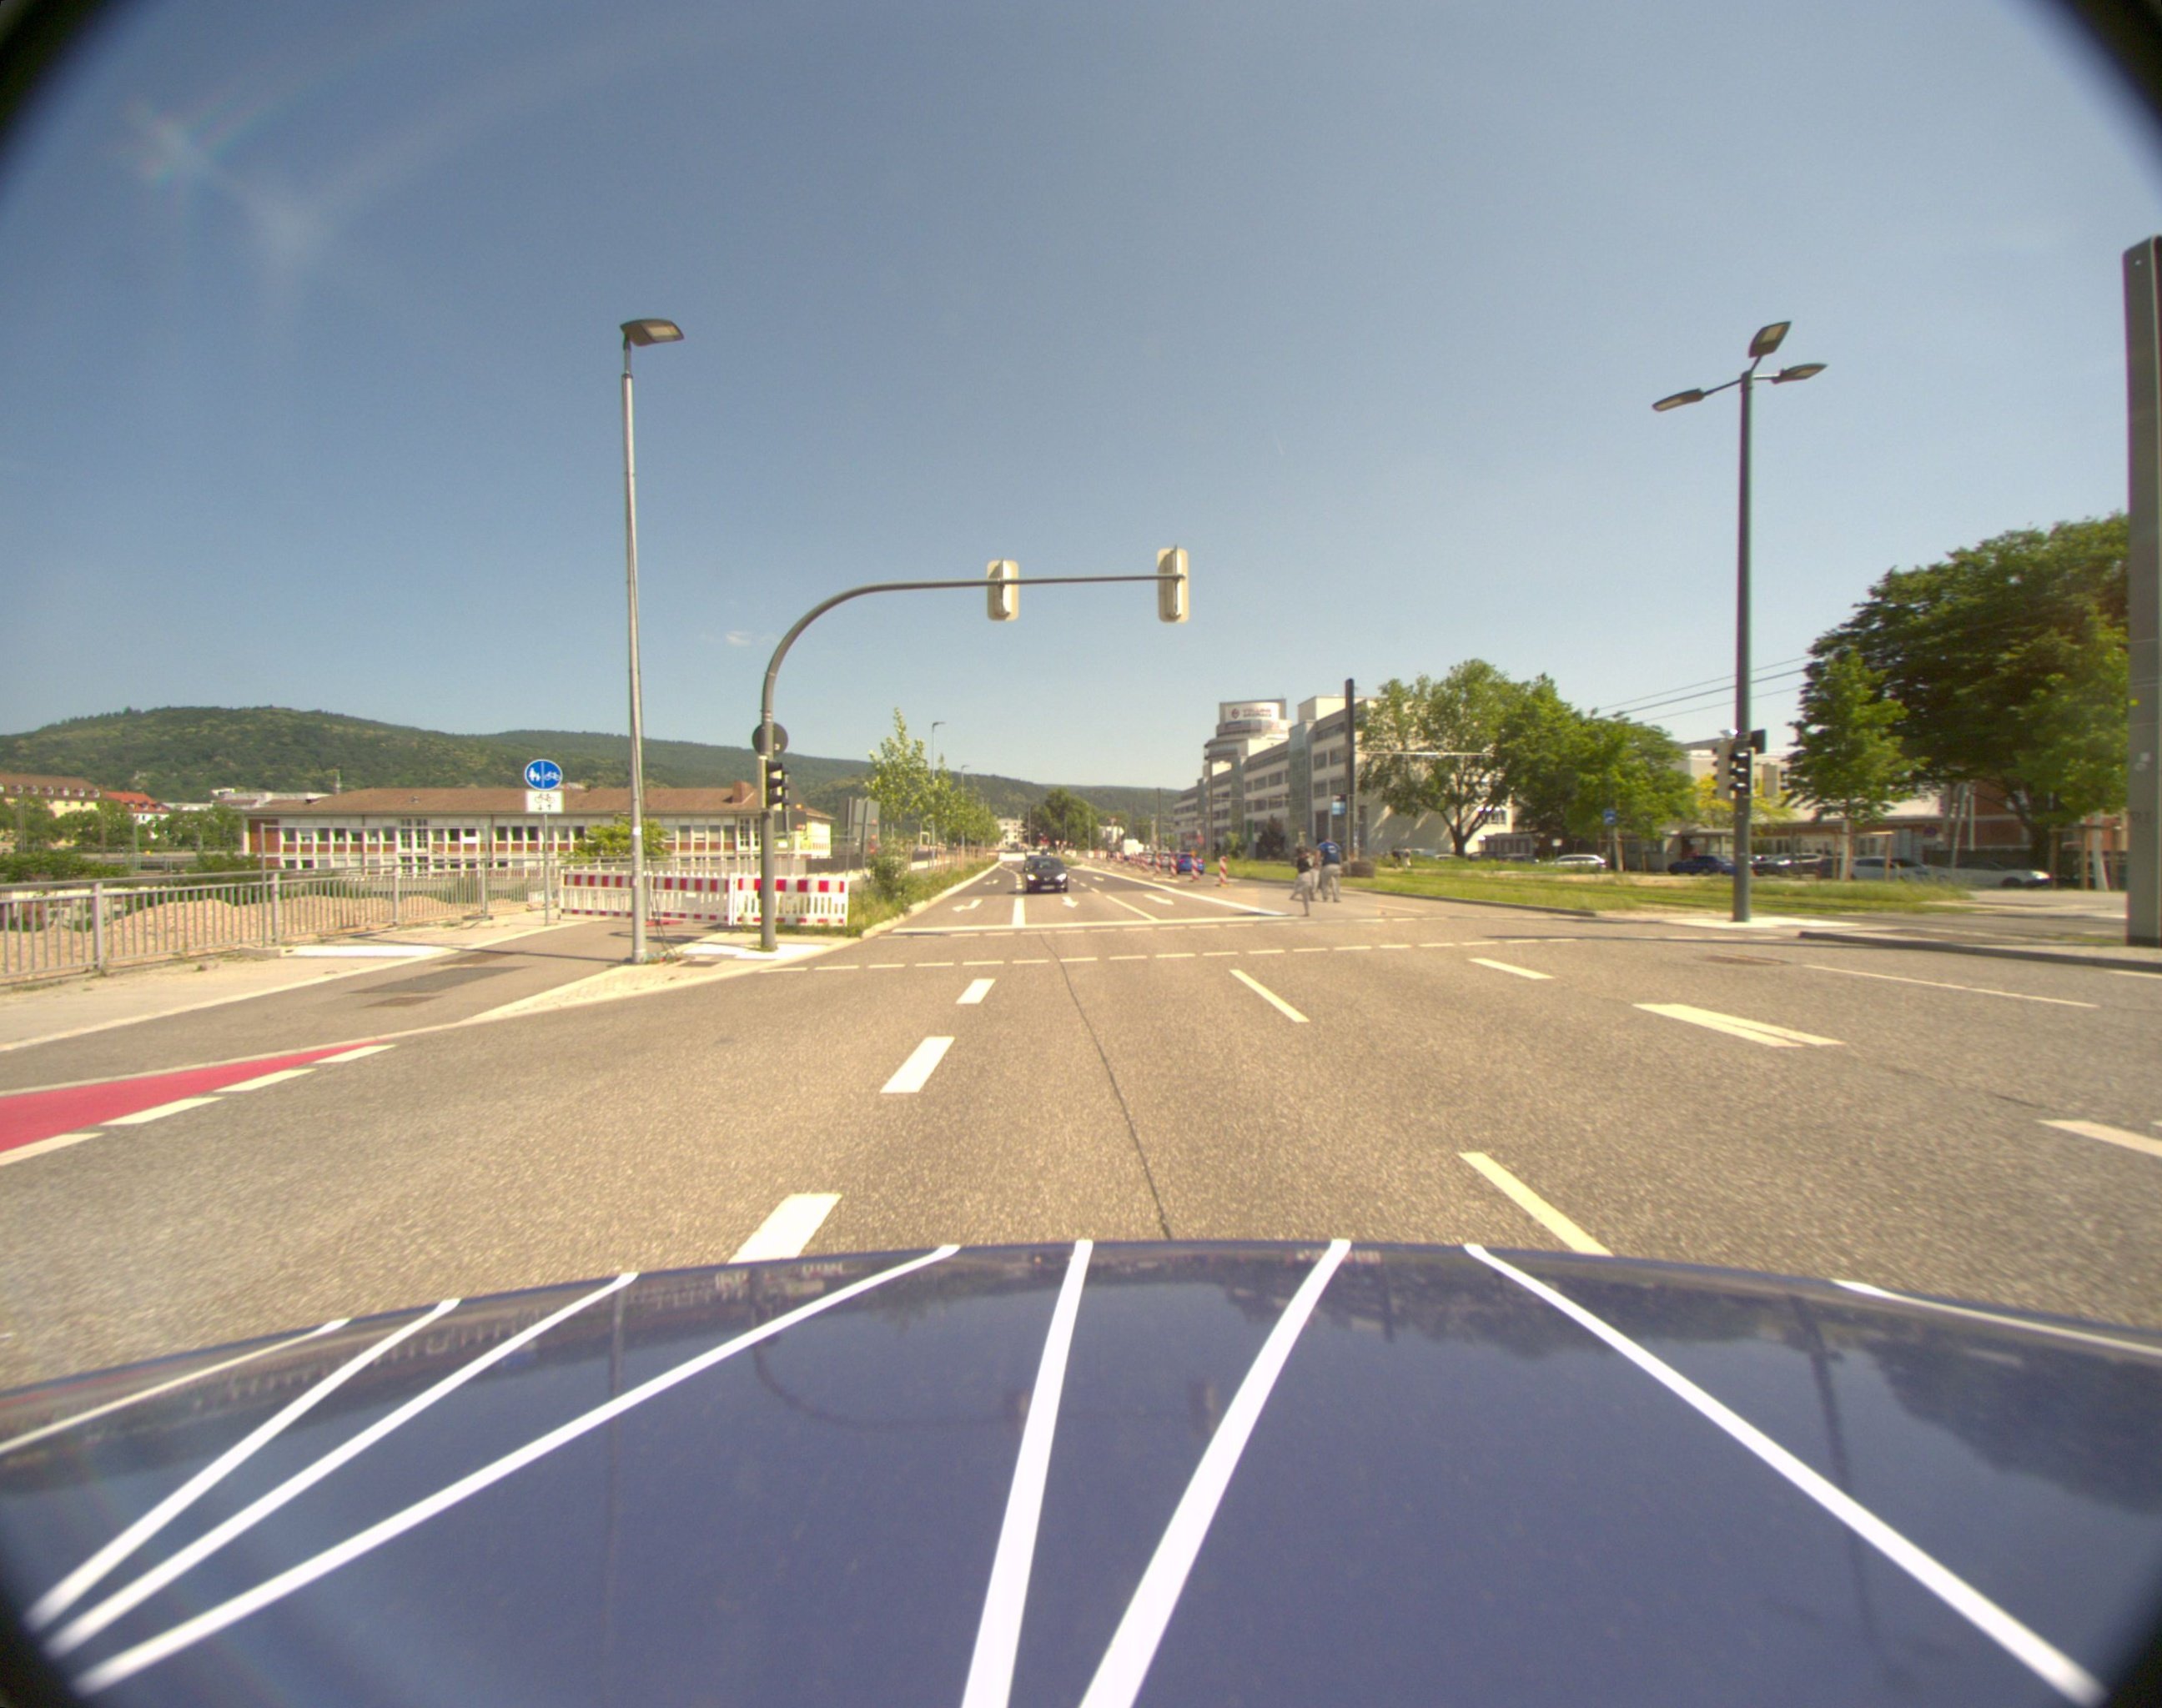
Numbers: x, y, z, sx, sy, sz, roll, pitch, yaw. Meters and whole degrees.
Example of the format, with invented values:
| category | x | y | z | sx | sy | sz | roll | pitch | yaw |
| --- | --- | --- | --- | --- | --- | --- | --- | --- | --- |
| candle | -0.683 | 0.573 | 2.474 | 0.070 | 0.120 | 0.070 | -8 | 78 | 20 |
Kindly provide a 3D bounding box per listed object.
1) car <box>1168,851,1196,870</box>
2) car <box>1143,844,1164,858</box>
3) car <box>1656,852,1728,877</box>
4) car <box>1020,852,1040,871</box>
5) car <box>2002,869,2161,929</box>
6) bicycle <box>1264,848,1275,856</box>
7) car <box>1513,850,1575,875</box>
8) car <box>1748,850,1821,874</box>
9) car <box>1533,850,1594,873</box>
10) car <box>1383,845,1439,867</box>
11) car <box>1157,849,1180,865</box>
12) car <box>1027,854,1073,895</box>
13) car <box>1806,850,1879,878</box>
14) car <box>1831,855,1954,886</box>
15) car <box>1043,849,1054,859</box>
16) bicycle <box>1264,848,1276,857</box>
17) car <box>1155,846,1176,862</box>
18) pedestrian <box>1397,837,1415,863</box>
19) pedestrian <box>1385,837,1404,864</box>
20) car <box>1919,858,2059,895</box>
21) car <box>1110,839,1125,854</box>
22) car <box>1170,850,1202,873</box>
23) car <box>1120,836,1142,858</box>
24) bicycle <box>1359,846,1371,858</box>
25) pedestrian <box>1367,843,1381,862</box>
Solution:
| category | x | y | z | sx | sy | sz | roll | pitch | yaw |
| --- | --- | --- | --- | --- | --- | --- | --- | --- | --- |
| car | 7.987 | 0.465 | 60.185 | 1.584 | 1.408 | 3.998 | 0 | 1 | -2 |
| car | 7.814 | -0.372 | 82.296 | 1.678 | 1.435 | 4.466 | 1 | 1 | -2 |
| car | 42.394 | 0.724 | 52.794 | 1.773 | 1.581 | 3.634 | -3 | 1 | -9 |
| car | -4.181 | 0.600 | 61.934 | 1.619 | 1.433 | 3.766 | 0 | 1 | -5 |
| car | 35.779 | 1.509 | 26.485 | 1.703 | 1.751 | 4.528 | -1 | 2 | -4 |
| bicycle | 29.522 | -0.301 | 118.975 | 1.650 | 1.182 | 0.438 | -2 | 1 | 2 |
| car | 32.546 | 0.579 | 53.549 | 1.773 | 1.581 | 3.634 | -3 | 1 | -9 |
| car | 46.876 | 0.508 | 50.706 | 1.541 | 1.444 | 3.344 | -3 | 1 | -6 |
| car | 34.797 | 0.509 | 54.915 | 1.773 | 1.581 | 3.634 | -3 | 1 | -9 |
| car | 32.839 | 0.210 | 75.733 | 5.064 | 2.167 | 2.117 | 0 | 1 | 23 |
| car | 7.692 | 0.241 | 67.245 | 1.584 | 1.408 | 4.295 | 0 | 1 | 0 |
| car | -1.295 | 0.759 | 30.430 | 1.619 | 1.433 | 3.704 | -1 | 1 | -5 |
| car | 43.418 | 0.539 | 43.333 | 3.755 | 1.449 | 1.540 | -1 | 1 | -21 |
| car | 41.148 | 0.792 | 38.662 | 1.543 | 1.449 | 4.265 | -1 | 0 | -4 |
| car | -5.352 | -0.034 | 125.226 | 1.619 | 1.433 | 3.766 | -2 | 1 | -3 |
| bicycle | 29.034 | -0.226 | 116.717 | 1.651 | 1.182 | 0.438 | -2 | 1 | -4 |
| car | 8.239 | -0.032 | 74.114 | 1.584 | 1.521 | 3.619 | 2 | 1 | -1 |
| pedestrian | 24.811 | -0.303 | 58.008 | 0.841 | 2.002 | 0.983 | -2 | 1 | -1 |
| pedestrian | 23.902 | -0.266 | 57.983 | 0.986 | 2.002 | 0.910 | -2 | 1 | -1 |
| car | 40.408 | 0.947 | 33.953 | 1.543 | 1.449 | 3.784 | -1 | 1 | -8 |
| car | 6.376 | -1.291 | 132.838 | 2.036 | 2.564 | 6.192 | 2 | 1 | -3 |
| car | 6.939 | 0.491 | 50.342 | 1.632 | 1.419 | 4.290 | 0 | 1 | 2 |
| car | 6.335 | -0.955 | 97.696 | 2.083 | 2.724 | 5.983 | 1 | 1 | -3 |
| bicycle | 25.942 | -0.188 | 69.337 | 0.461 | 0.980 | 1.557 | -1 | 1 | -1 |
| pedestrian | 24.614 | -0.087 | 63.868 | 0.816 | 1.567 | 0.826 | -1 | 1 | 1 |
